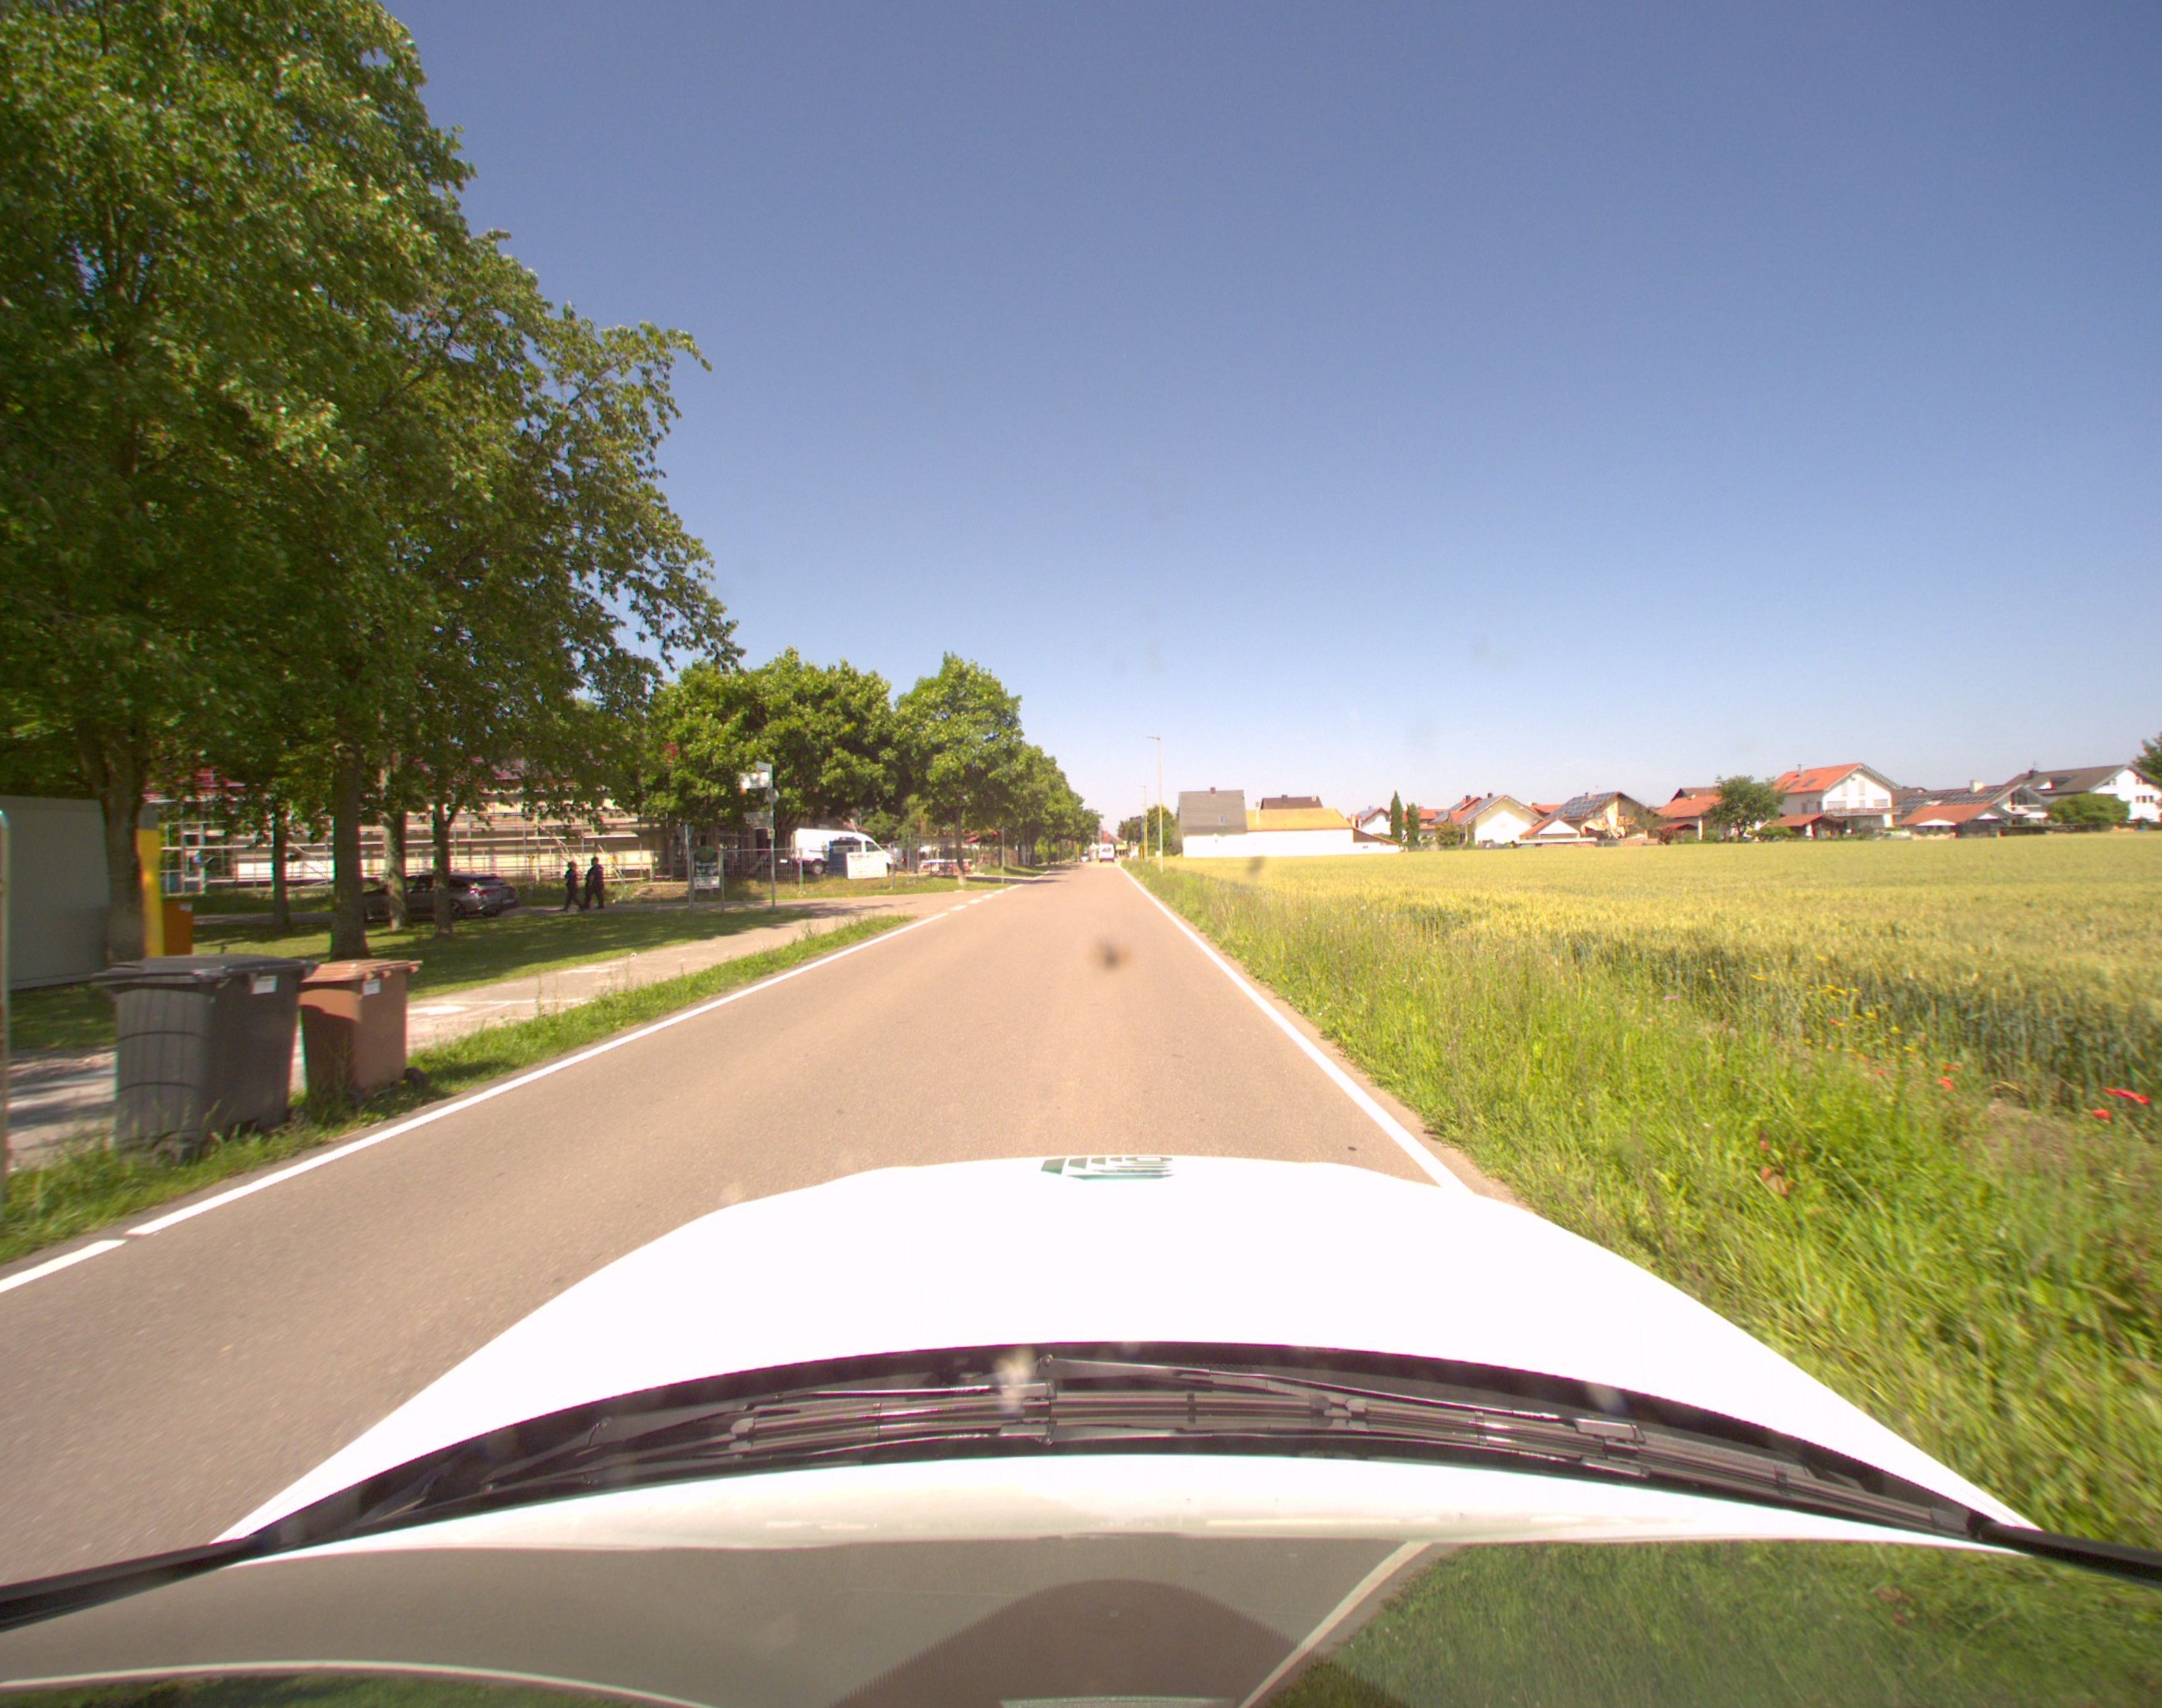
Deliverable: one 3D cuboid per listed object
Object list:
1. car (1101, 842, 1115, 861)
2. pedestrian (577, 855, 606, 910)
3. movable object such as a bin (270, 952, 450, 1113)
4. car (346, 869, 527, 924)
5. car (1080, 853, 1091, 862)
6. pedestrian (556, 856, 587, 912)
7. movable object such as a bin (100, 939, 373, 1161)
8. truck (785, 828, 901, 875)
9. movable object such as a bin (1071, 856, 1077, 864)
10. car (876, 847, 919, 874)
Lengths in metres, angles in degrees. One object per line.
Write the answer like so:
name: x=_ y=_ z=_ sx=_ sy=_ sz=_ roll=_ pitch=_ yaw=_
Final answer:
car: x=3.703 y=-0.315 z=111.721 sx=1.731 sy=2.432 sz=4.377 roll=-2 pitch=0 yaw=2
pedestrian: x=-16.108 y=0.929 z=26.815 sx=0.603 sy=1.751 sz=0.585 roll=-2 pitch=0 yaw=-8
movable object such as a bin: x=-4.550 y=1.106 z=5.175 sx=0.559 sy=0.877 sz=0.615 roll=-2 pitch=0 yaw=9
car: x=-18.997 y=1.226 z=24.158 sx=3.795 sy=1.399 sz=1.755 roll=-2 pitch=0 yaw=-6
car: x=0.716 y=0.572 z=130.591 sx=1.641 sy=1.423 sz=4.082 roll=-4 pitch=0 yaw=2
pedestrian: x=-16.267 y=0.952 z=26.015 sx=0.603 sy=1.751 sz=0.585 roll=-2 pitch=0 yaw=-8
movable object such as a bin: x=-4.581 y=1.026 z=4.470 sx=0.694 sy=1.024 sz=0.750 roll=-2 pitch=0 yaw=9
truck: x=-13.334 y=-0.164 z=45.885 sx=5.957 sy=2.483 sz=1.978 roll=-1 pitch=-1 yaw=-36
movable object such as a bin: x=-1.039 y=0.934 z=125.150 sx=0.706 sy=1.079 sz=0.643 roll=-2 pitch=-1 yaw=29
car: x=-12.877 y=0.438 z=57.351 sx=1.963 sy=1.838 sz=4.329 roll=-1 pitch=0 yaw=1
